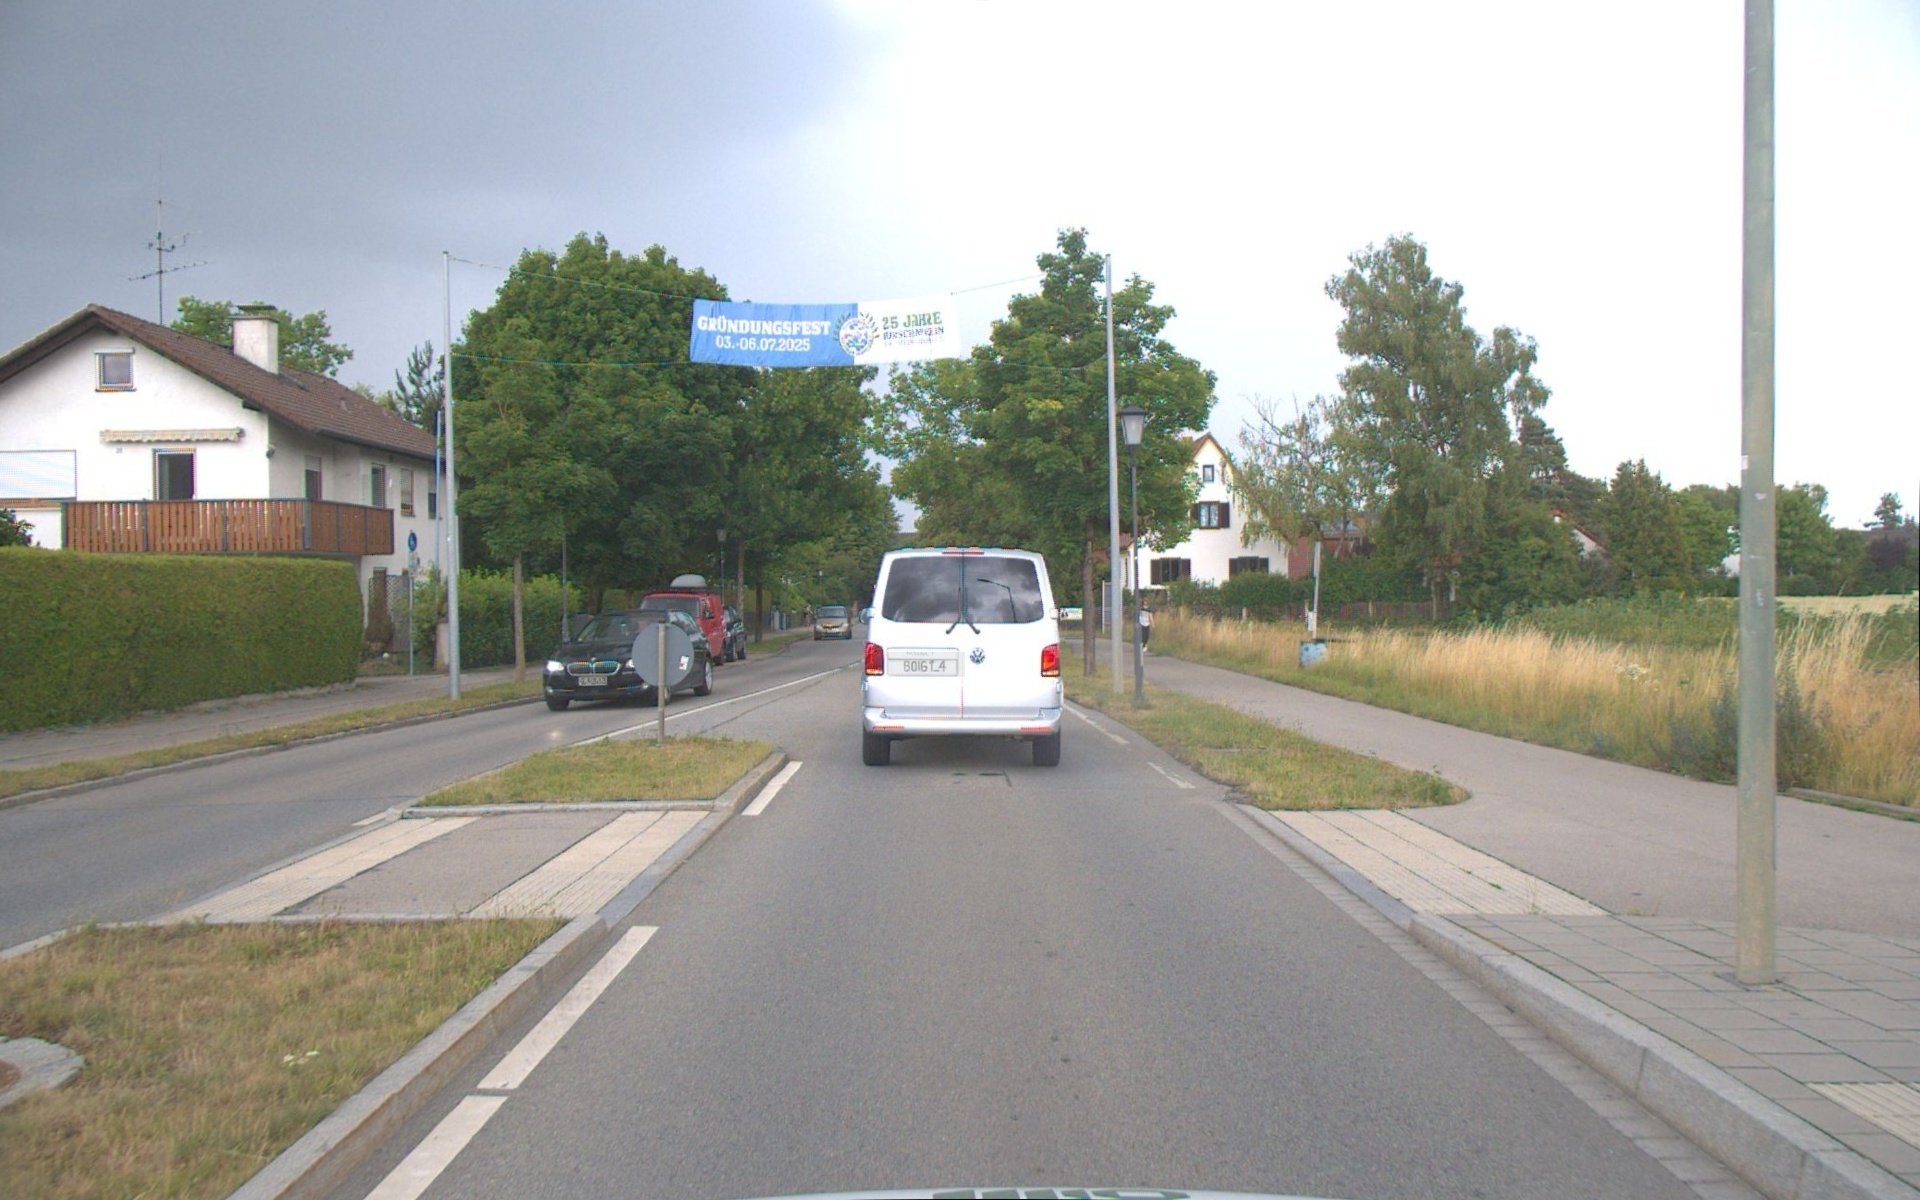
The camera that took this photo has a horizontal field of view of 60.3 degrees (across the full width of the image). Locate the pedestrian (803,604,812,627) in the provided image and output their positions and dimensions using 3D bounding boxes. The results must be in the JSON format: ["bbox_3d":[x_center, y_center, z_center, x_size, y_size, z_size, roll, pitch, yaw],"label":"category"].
[{"bbox_3d":[-10.616,1.064,114.971,0.610,1.576,0.522,1,-1,-5],"label":"pedestrian"}]

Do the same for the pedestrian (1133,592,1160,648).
[{"bbox_3d":[6.015,0.649,53.440,0.820,1.785,0.870,0,0,4],"label":"pedestrian"}]

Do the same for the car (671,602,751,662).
[{"bbox_3d":[-7.202,0.904,48.245,1.735,1.626,4.237,0,0,-1],"label":"car"}]

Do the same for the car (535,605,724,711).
[{"bbox_3d":[-5.142,0.853,26.379,1.880,1.479,4.498,-1,0,3],"label":"car"}]

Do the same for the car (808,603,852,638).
[{"bbox_3d":[-6.309,0.971,80.356,1.672,1.559,3.508,-2,0,2],"label":"car"}]

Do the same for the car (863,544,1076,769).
[{"bbox_3d":[0.033,0.501,16.328,1.849,1.945,3.999,0,0,-2],"label":"car"}]

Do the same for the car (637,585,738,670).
[{"bbox_3d":[-7.057,0.676,43.284,1.792,2.066,5.045,1,0,0],"label":"car"}]

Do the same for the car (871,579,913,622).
[{"bbox_3d":[-3.298,0.039,81.234,1.953,2.049,3.999,1,-1,-1],"label":"car"}]
